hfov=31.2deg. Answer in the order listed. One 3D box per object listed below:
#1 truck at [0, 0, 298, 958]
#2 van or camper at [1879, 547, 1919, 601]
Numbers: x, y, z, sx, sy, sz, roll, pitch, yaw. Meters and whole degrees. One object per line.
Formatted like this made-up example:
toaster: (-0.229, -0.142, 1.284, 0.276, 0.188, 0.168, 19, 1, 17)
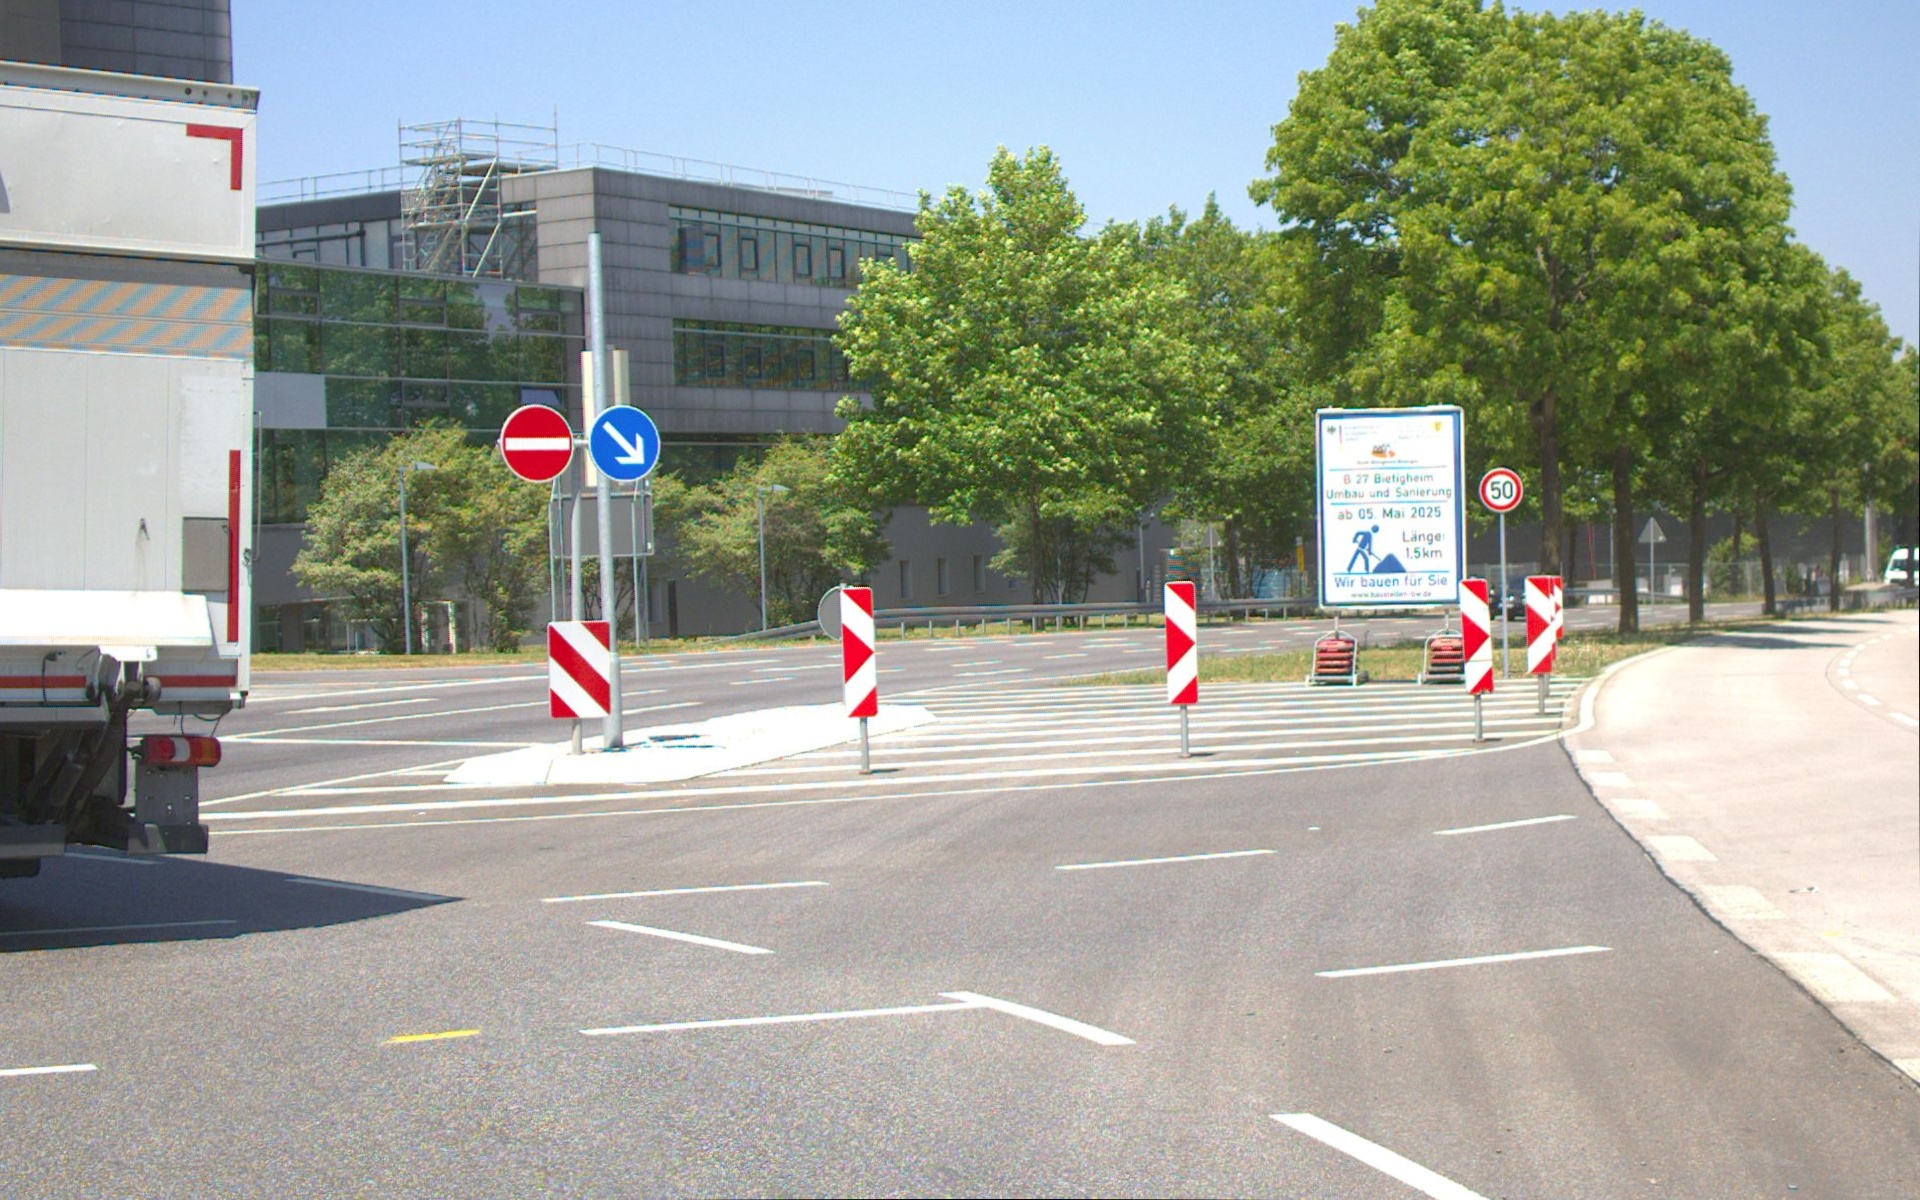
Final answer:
truck: (-6.601, -0.447, 17.314, 2.770, 3.847, 9.368, -1, 0, -35)
van or camper: (47.679, -1.303, 172.578, 1.997, 2.673, 3.993, 0, 0, 31)
